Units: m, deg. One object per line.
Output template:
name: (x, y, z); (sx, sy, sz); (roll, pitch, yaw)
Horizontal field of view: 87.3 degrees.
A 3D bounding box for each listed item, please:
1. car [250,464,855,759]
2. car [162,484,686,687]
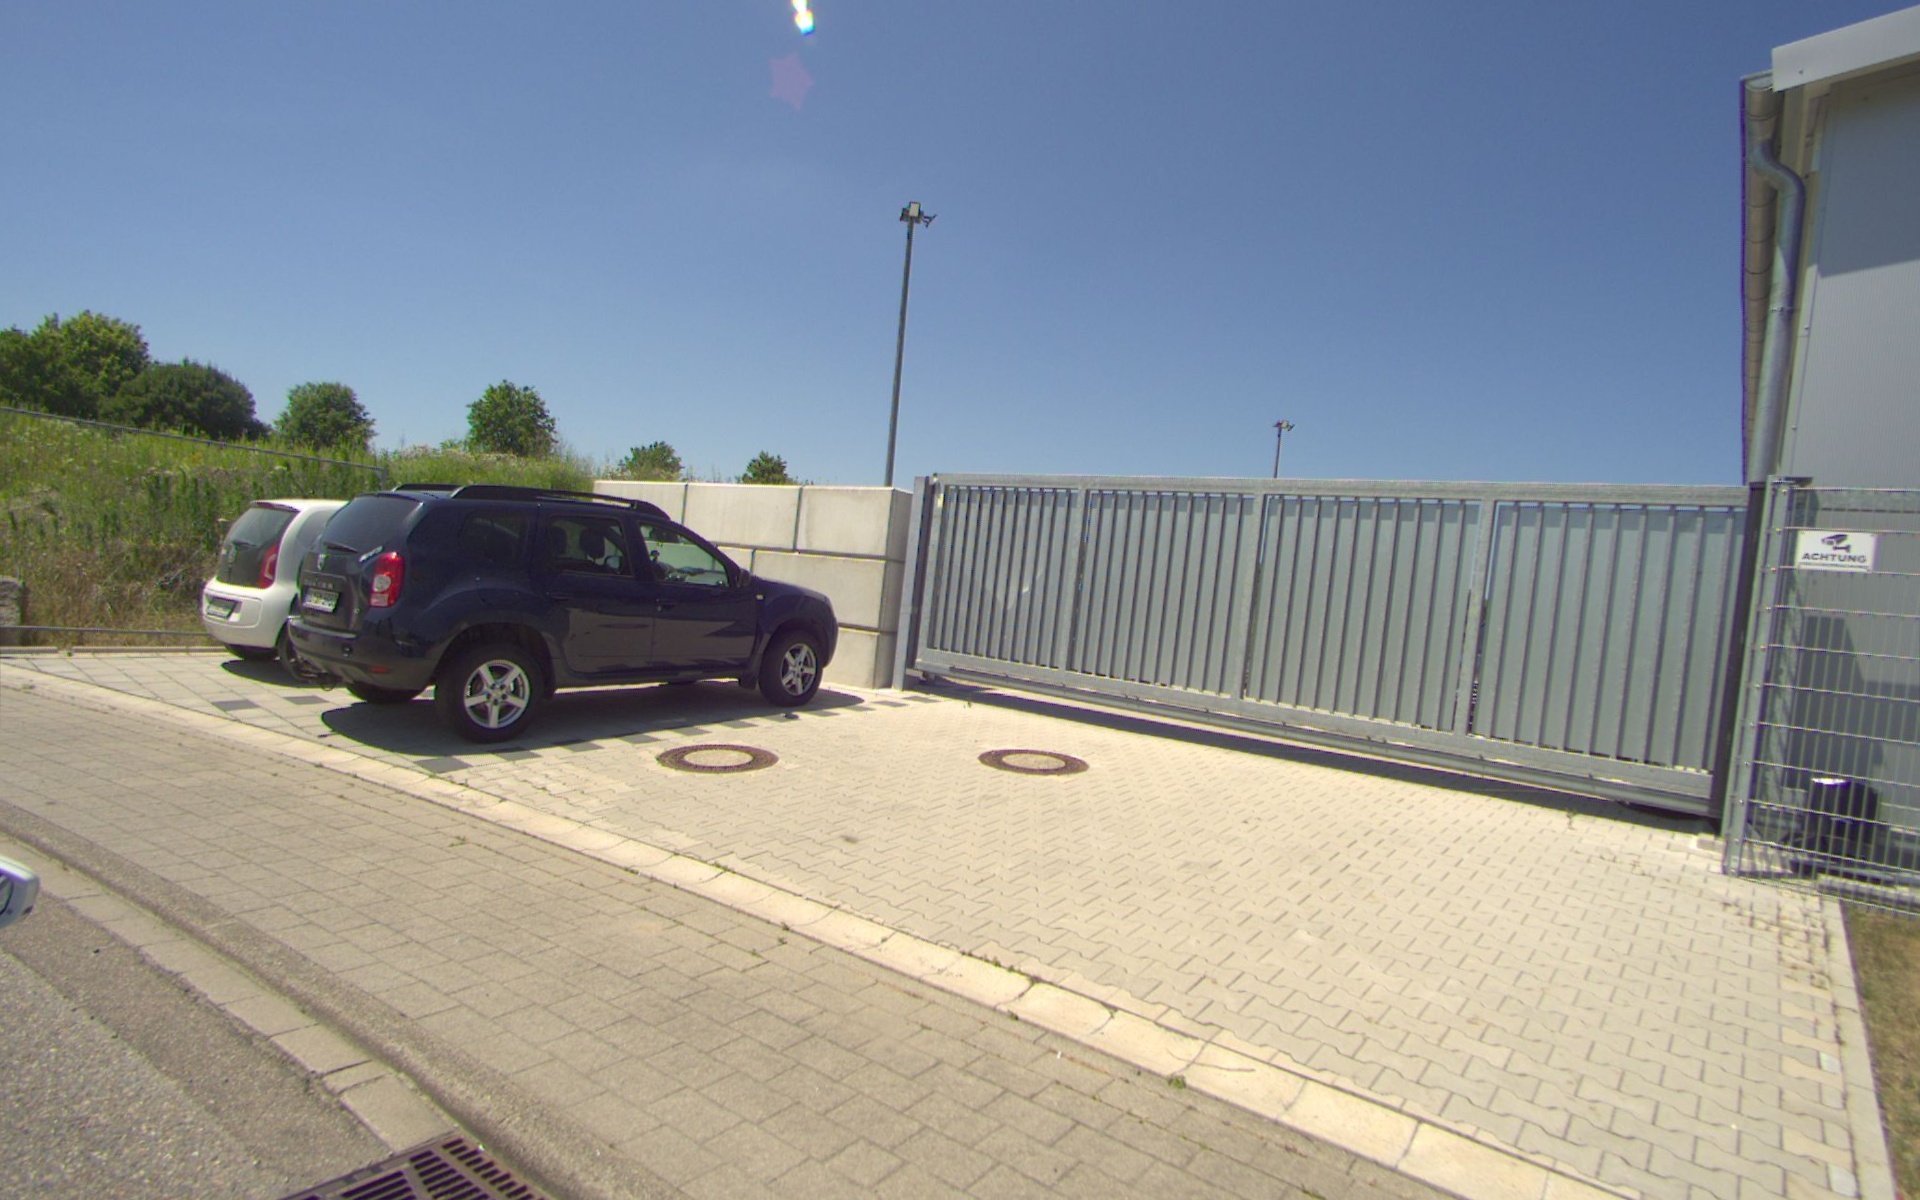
car: (-2.914, -0.013, 7.893); (1.830, 1.679, 4.000); (7, 5, 38)
car: (-4.910, -0.109, 9.692); (1.864, 1.482, 4.003); (7, 3, 37)
